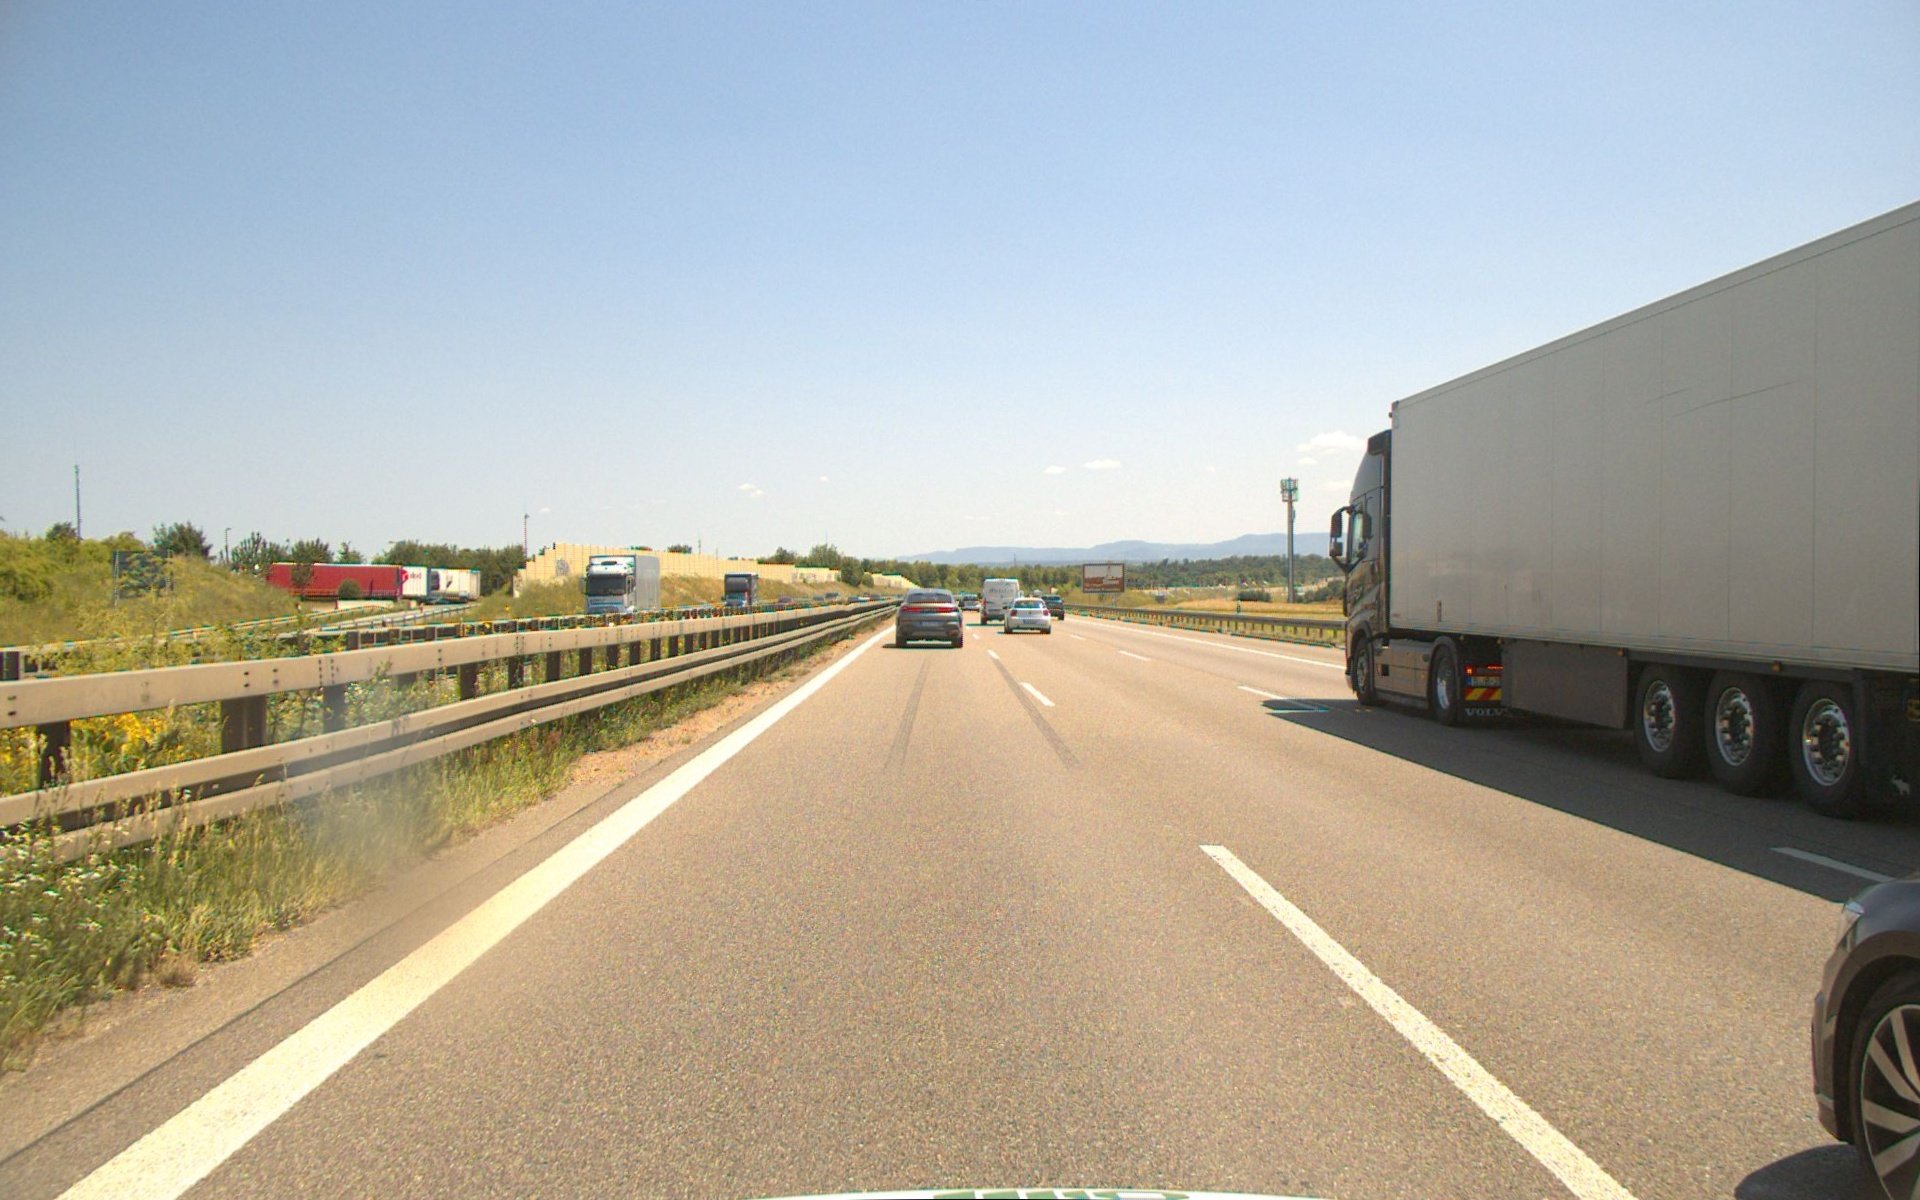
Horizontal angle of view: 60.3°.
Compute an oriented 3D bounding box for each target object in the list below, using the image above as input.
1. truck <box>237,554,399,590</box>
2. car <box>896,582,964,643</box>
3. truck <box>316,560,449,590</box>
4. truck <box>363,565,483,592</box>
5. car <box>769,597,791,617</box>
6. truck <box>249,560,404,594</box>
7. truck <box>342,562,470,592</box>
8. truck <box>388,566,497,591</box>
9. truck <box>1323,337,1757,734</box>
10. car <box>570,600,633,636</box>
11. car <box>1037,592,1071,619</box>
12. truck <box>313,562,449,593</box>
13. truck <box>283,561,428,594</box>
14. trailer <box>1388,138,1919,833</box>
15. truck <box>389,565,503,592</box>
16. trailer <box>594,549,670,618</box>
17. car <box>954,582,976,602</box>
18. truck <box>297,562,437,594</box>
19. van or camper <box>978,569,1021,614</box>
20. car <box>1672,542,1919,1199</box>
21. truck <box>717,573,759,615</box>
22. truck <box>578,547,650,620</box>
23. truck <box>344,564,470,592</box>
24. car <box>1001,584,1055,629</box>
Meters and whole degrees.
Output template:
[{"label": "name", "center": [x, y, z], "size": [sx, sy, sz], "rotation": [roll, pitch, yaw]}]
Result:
[{"label": "truck", "center": [-59.925, -2.575, 154.965], "size": [2.618, 3.194, 14.351], "rotation": [1, 0, 45]}, {"label": "car", "center": [-0.918, 0.334, 48.728], "size": [1.814, 1.693, 3.732], "rotation": [1, 0, -4]}, {"label": "truck", "center": [-64.373, -2.767, 184.713], "size": [2.618, 3.194, 14.351], "rotation": [1, 0, 45]}, {"label": "truck", "center": [-65.871, -2.629, 203.335], "size": [2.618, 3.194, 14.351], "rotation": [1, 0, 45]}, {"label": "car", "center": [-15.585, 0.586, 143.380], "size": [1.516, 1.693, 4.227], "rotation": [1, 0, -2]}, {"label": "truck", "center": [-61.668, -2.198, 161.419], "size": [2.618, 3.194, 14.351], "rotation": [1, 0, 45]}, {"label": "truck", "center": [-63.532, -2.591, 190.139], "size": [2.618, 3.194, 14.351], "rotation": [1, 0, 45]}, {"label": "truck", "center": [-69.026, -2.807, 221.115], "size": [2.618, 3.194, 14.351], "rotation": [1, 0, 45]}, {"label": "truck", "center": [7.171, -0.731, 21.884], "size": [2.918, 4.301, 7.686], "rotation": [1, 0, -1]}, {"label": "car", "center": [-13.540, 0.661, 62.599], "size": [1.703, 1.247, 4.282], "rotation": [1, 0, -4]}, {"label": "car", "center": [6.207, 0.340, 109.121], "size": [1.953, 1.712, 3.999], "rotation": [1, 0, -1]}, {"label": "truck", "center": [-63.161, -2.468, 180.950], "size": [2.618, 3.194, 14.351], "rotation": [1, 0, 45]}, {"label": "truck", "center": [-62.471, -2.285, 171.477], "size": [2.618, 3.194, 14.351], "rotation": [1, 0, 45]}, {"label": "trailer", "center": [7.265, -0.737, 15.303], "size": [2.883, 4.271, 13.594], "rotation": [1, 0, -1]}, {"label": "truck", "center": [-65.206, -2.676, 210.257], "size": [2.618, 3.194, 14.351], "rotation": [1, 0, 45]}, {"label": "trailer", "center": [-18.490, -0.937, 93.700], "size": [2.639, 3.688, 8.613], "rotation": [1, 0, -1]}, {"label": "car", "center": [0.419, -0.729, 150.123], "size": [1.953, 1.712, 3.999], "rotation": [1, 0, -1]}, {"label": "truck", "center": [-62.876, -2.326, 175.866], "size": [2.618, 3.194, 14.351], "rotation": [1, 0, 45]}, {"label": "van or camper", "center": [2.027, -0.435, 86.552], "size": [2.068, 2.250, 5.265], "rotation": [1, 0, -1]}, {"label": "car", "center": [3.202, 0.687, 2.652], "size": [1.894, 1.602, 4.933], "rotation": [1, 0, -1]}, {"label": "truck", "center": [-19.788, -0.574, 147.982], "size": [2.838, 3.626, 10.447], "rotation": [1, 0, -3]}, {"label": "truck", "center": [-18.430, -0.899, 88.403], "size": [2.684, 3.743, 5.897], "rotation": [1, 0, -1]}, {"label": "truck", "center": [-64.665, -2.541, 193.949], "size": [2.618, 3.194, 14.351], "rotation": [1, 0, 45]}, {"label": "car", "center": [2.715, 0.234, 66.672], "size": [1.953, 1.712, 3.999], "rotation": [1, 0, -1]}]
